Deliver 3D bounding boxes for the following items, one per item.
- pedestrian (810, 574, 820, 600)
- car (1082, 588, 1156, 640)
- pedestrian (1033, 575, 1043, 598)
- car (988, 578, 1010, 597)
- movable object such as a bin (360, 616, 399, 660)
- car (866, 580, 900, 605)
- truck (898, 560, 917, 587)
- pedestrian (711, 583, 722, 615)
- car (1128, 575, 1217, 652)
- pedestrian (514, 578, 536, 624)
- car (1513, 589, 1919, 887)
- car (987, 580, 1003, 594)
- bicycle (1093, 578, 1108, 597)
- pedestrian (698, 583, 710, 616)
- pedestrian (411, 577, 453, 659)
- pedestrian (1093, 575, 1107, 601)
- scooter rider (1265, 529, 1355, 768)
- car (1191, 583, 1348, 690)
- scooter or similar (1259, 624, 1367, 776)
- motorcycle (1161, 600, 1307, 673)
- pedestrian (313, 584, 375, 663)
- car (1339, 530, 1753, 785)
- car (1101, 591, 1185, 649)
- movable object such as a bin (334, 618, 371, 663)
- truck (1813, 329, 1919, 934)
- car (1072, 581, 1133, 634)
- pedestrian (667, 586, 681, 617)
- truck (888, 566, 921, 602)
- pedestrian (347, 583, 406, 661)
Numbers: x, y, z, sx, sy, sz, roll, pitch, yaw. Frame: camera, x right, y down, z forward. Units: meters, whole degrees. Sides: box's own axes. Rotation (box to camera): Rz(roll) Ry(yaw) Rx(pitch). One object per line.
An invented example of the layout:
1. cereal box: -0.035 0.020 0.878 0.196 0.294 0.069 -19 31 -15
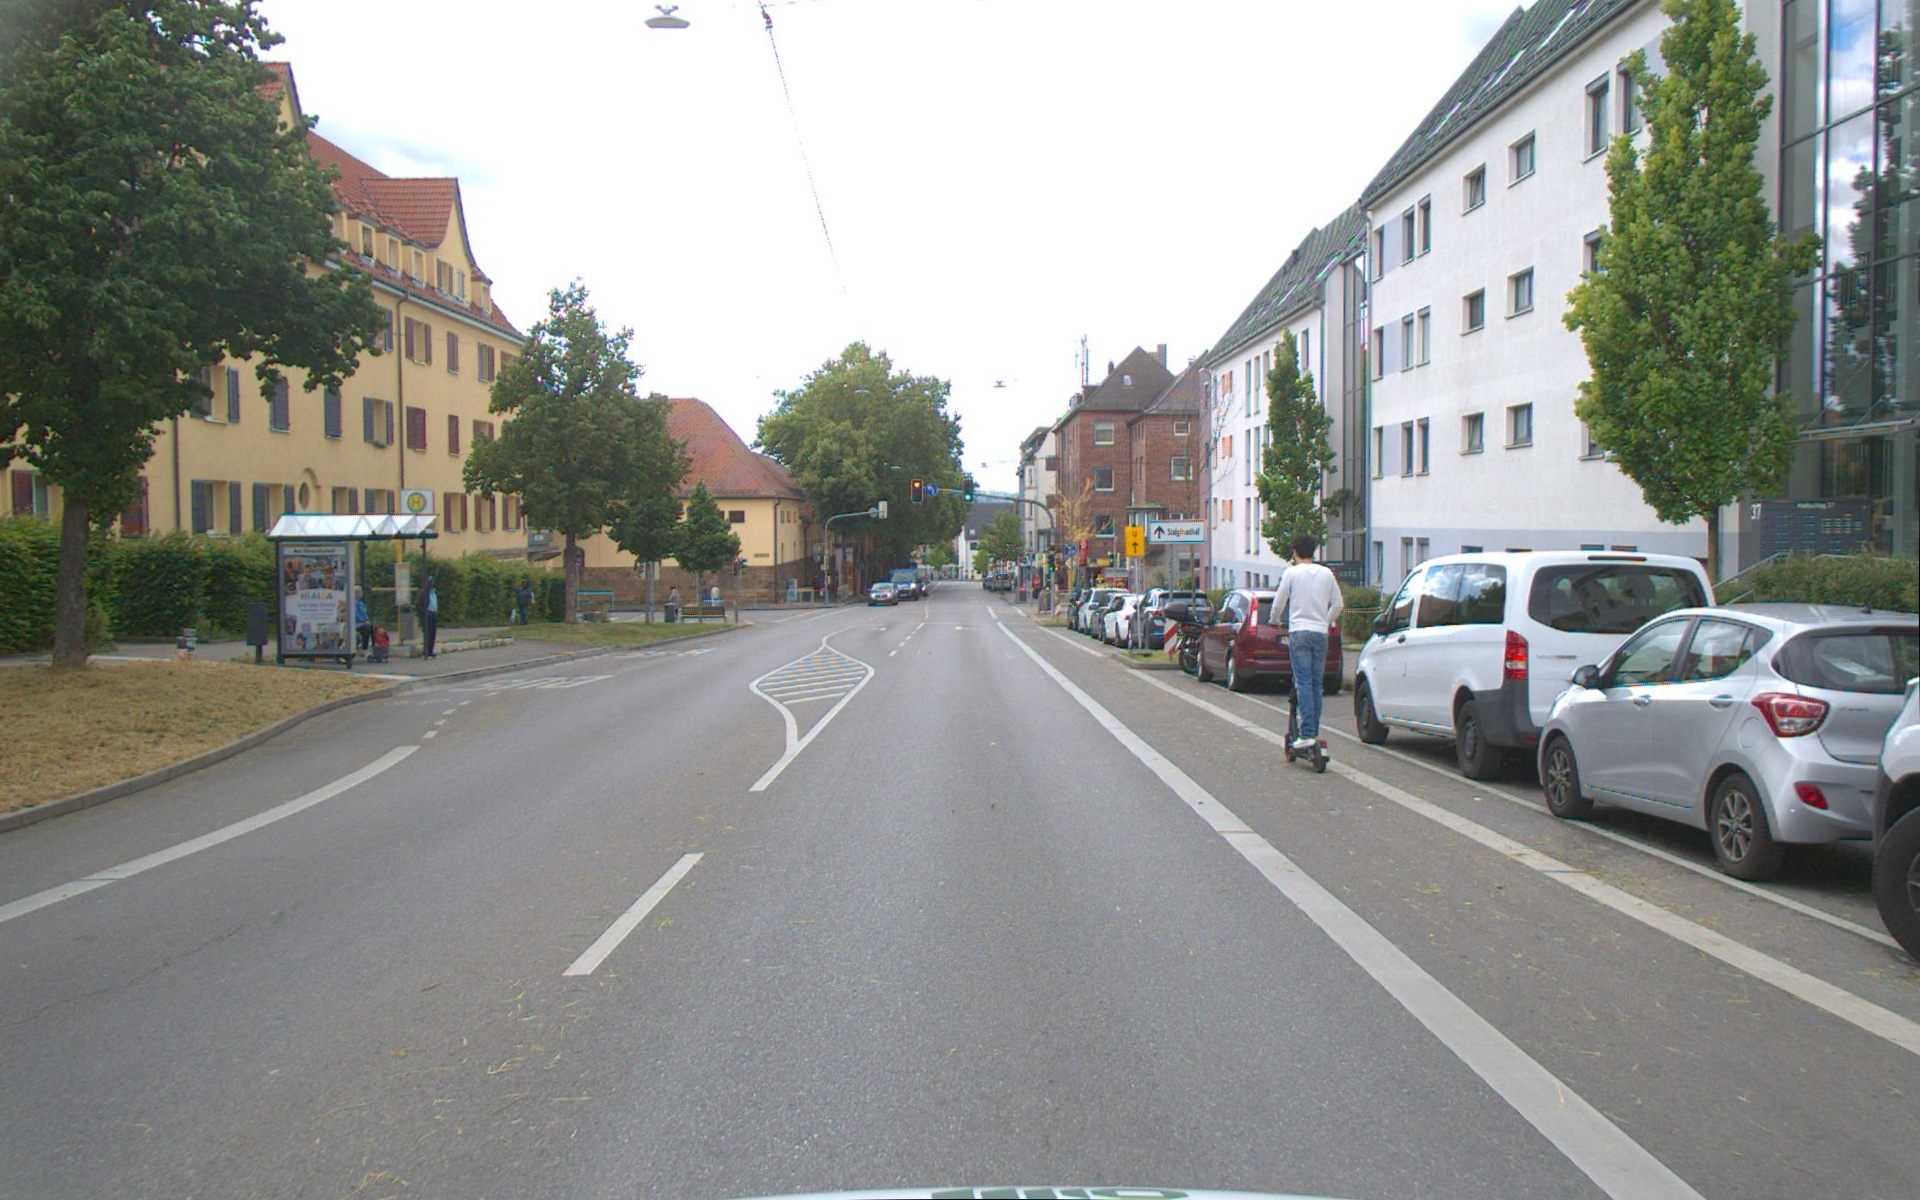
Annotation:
1. pedestrian: -10.090 -0.874 115.014 0.660 1.795 0.726 0 0 2
2. car: 4.999 0.404 52.475 1.710 1.493 4.948 1 1 -1
3. pedestrian: 5.635 -0.992 119.844 0.553 1.665 0.681 0 1 20
4. car: 4.075 -1.314 172.261 1.954 1.969 4.916 0 1 -3
5. movable object such as a bin: -11.779 0.764 33.561 0.525 0.860 0.665 1 1 1
6. car: -4.898 -0.497 105.159 1.719 1.498 4.308 -1 1 3
7. truck: -6.603 -3.347 208.448 2.185 3.404 7.449 0 1 -1
8. pedestrian: -13.614 -0.065 92.512 0.552 1.808 0.717 0 1 -1
9. car: 5.186 0.280 40.756 1.598 1.679 4.357 1 2 0
10. pedestrian: -15.563 0.041 59.128 0.627 1.647 0.618 0 1 -1
11. car: 4.997 0.721 10.541 1.494 1.511 3.724 1 1 -3
12. car: 4.107 -1.575 195.988 1.635 1.574 3.755 0 1 -3
13. bicycle: 9.033 -0.819 106.441 0.744 1.214 2.392 0 1 0
14. pedestrian: -14.357 -0.028 92.917 0.552 1.808 0.842 0 1 -1
15. pedestrian: -11.498 0.378 36.027 0.585 1.757 0.861 1 0 2
16. pedestrian: 9.022 -0.768 106.546 0.772 1.685 0.772 -2 1 0
17. scooter rider: 3.072 0.411 14.554 0.613 2.049 0.757 0 1 -1
18. car: 4.956 0.529 27.060 1.646 1.571 4.338 0 1 -1
19. scooter or similar: 3.091 0.839 14.634 0.480 1.183 2.074 0 1 -1
20. motorcycle: 5.028 0.660 30.416 2.546 1.301 0.752 0 1 -5
21. pedestrian: -12.001 0.455 32.257 0.881 1.499 0.806 1 1 0
22. car: 5.158 0.408 15.467 1.953 1.978 5.211 0 1 -1
23. car: 5.044 0.525 46.074 1.695 1.438 4.499 1 1 -2
24. movable object such as a bin: -11.827 0.786 32.219 0.454 0.840 0.665 1 1 1
25. truck: 5.184 0.170 5.155 2.011 2.610 5.689 0 1 -1
26. car: 5.021 0.235 58.758 1.625 1.745 4.551 1 1 -1
27. pedestrian: -14.955 0.081 86.462 0.552 1.594 0.843 0 1 5
28. truck: -4.052 -1.180 119.637 2.249 2.469 6.408 -1 1 -3
29. pedestrian: -11.930 0.441 33.827 0.881 1.536 0.806 1 1 0
